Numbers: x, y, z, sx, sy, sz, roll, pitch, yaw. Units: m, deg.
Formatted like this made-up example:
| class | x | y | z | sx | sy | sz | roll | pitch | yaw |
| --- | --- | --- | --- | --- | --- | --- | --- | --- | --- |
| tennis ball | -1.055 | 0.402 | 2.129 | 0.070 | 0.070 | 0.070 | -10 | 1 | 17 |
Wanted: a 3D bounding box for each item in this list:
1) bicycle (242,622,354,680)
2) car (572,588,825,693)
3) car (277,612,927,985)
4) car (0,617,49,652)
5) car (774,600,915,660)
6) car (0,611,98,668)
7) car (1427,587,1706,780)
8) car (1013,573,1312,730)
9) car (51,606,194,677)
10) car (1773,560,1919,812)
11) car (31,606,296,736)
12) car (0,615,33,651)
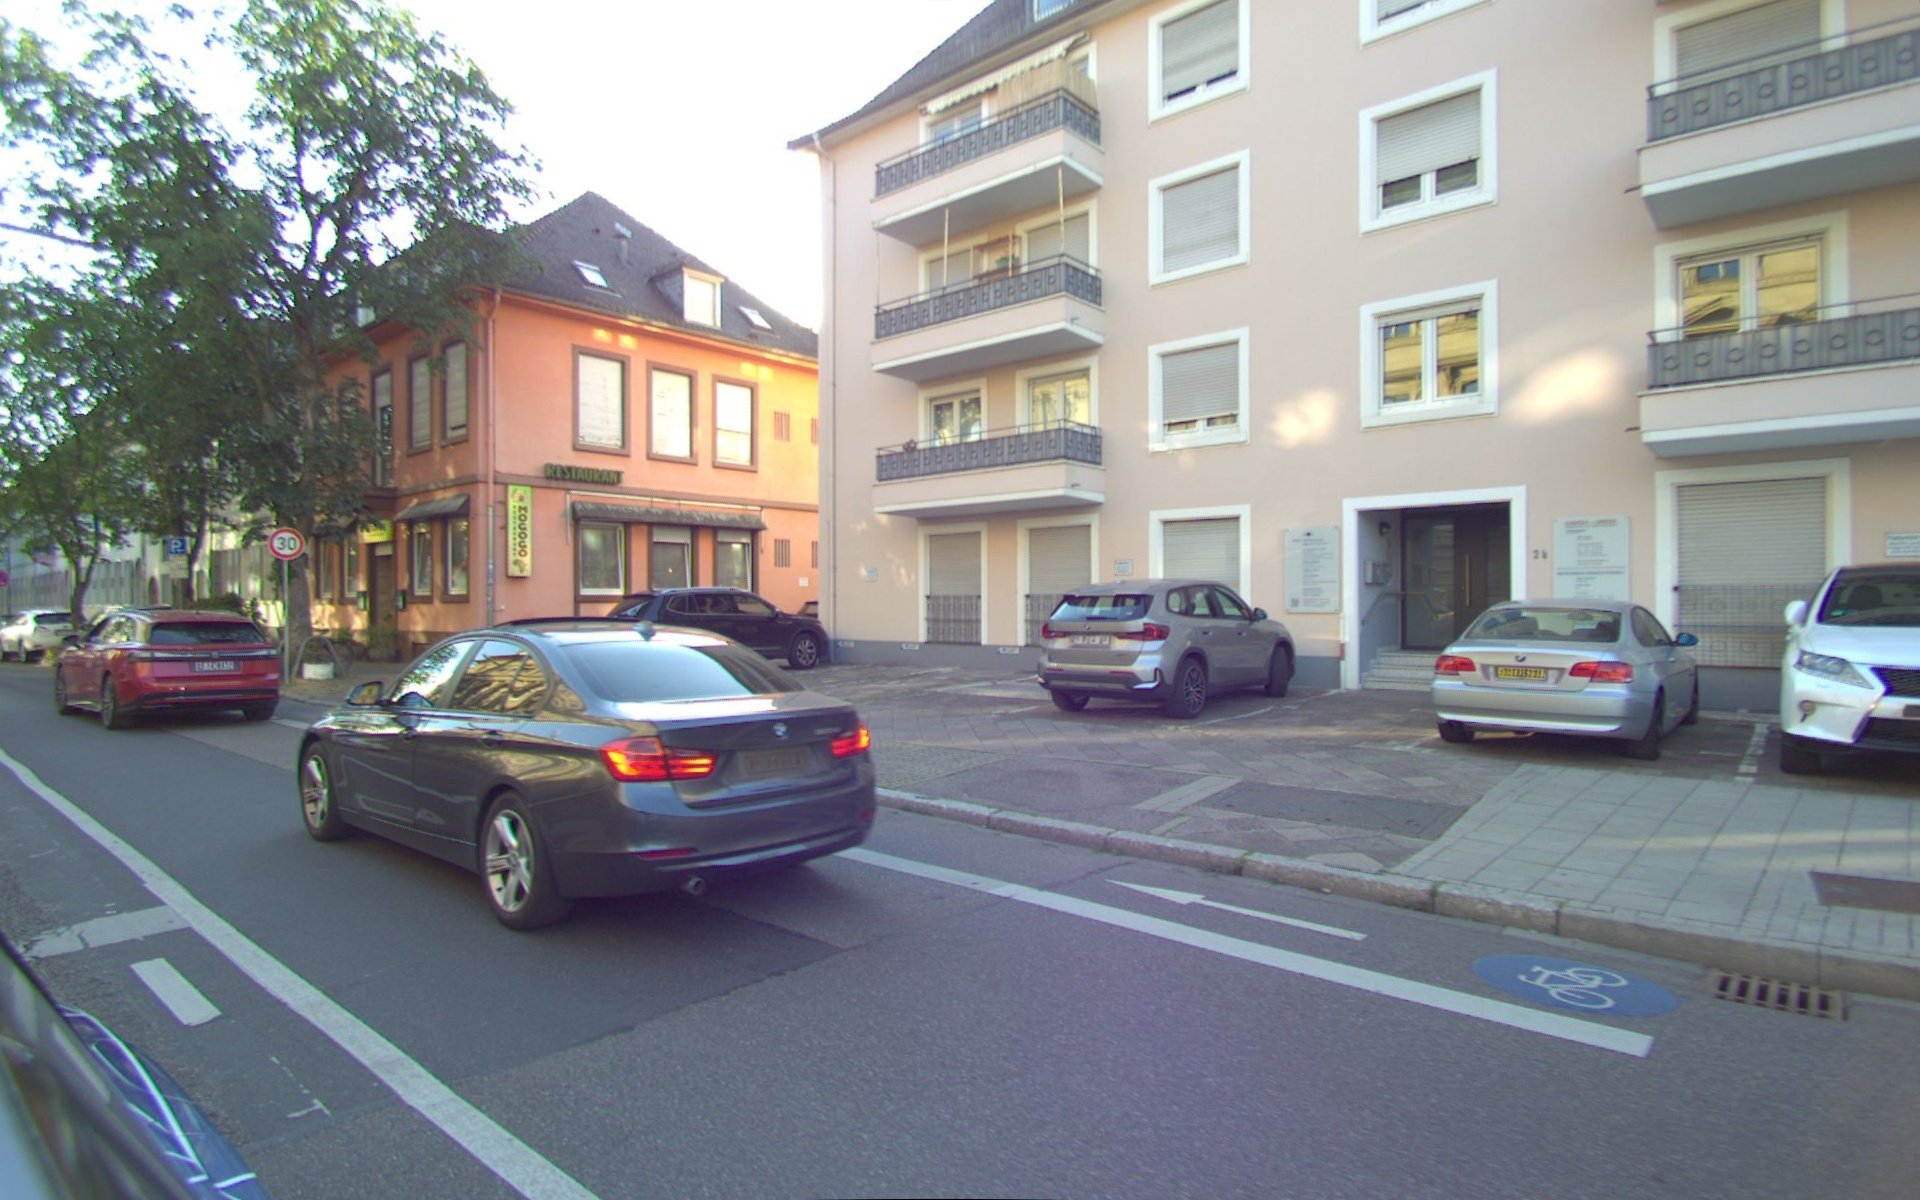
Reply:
| class | x | y | z | sx | sy | sz | roll | pitch | yaw |
| --- | --- | --- | --- | --- | --- | --- | --- | --- | --- |
| bicycle | -13.655 | 1.029 | 20.926 | 0.609 | 1.112 | 1.850 | -1 | 0 | 34 |
| car | -4.830 | 0.669 | 19.239 | 1.862 | 1.678 | 4.374 | -1 | 1 | 39 |
| car | -2.415 | 0.814 | 6.135 | 4.421 | 1.470 | 1.764 | -1 | -1 | 41 |
| car | -44.763 | 1.594 | 46.510 | 1.801 | 1.557 | 4.172 | -1 | -1 | 43 |
| car | -3.219 | 0.803 | 28.704 | 1.884 | 1.567 | 3.762 | -1 | -1 | 39 |
| car | -30.873 | 1.283 | 33.933 | 4.645 | 1.680 | 1.813 | -1 | 3 | 35 |
| car | 6.097 | 0.634 | 9.925 | 1.734 | 1.391 | 4.224 | -1 | 1 | 39 |
| car | 2.766 | 0.514 | 13.026 | 1.914 | 1.617 | 4.374 | -1 | 1 | 39 |
| car | -24.027 | 1.133 | 28.980 | 5.037 | 1.772 | 1.813 | -1 | 3 | 35 |
| car | 7.894 | 0.508 | 8.228 | 1.940 | 1.653 | 4.396 | -1 | 1 | 39 |
| car | -11.405 | 0.915 | 14.368 | 4.840 | 1.557 | 1.813 | -1 | -2 | 37 |
| car | -47.026 | 1.566 | 48.069 | 1.798 | 1.702 | 4.178 | -1 | -1 | 38 |
